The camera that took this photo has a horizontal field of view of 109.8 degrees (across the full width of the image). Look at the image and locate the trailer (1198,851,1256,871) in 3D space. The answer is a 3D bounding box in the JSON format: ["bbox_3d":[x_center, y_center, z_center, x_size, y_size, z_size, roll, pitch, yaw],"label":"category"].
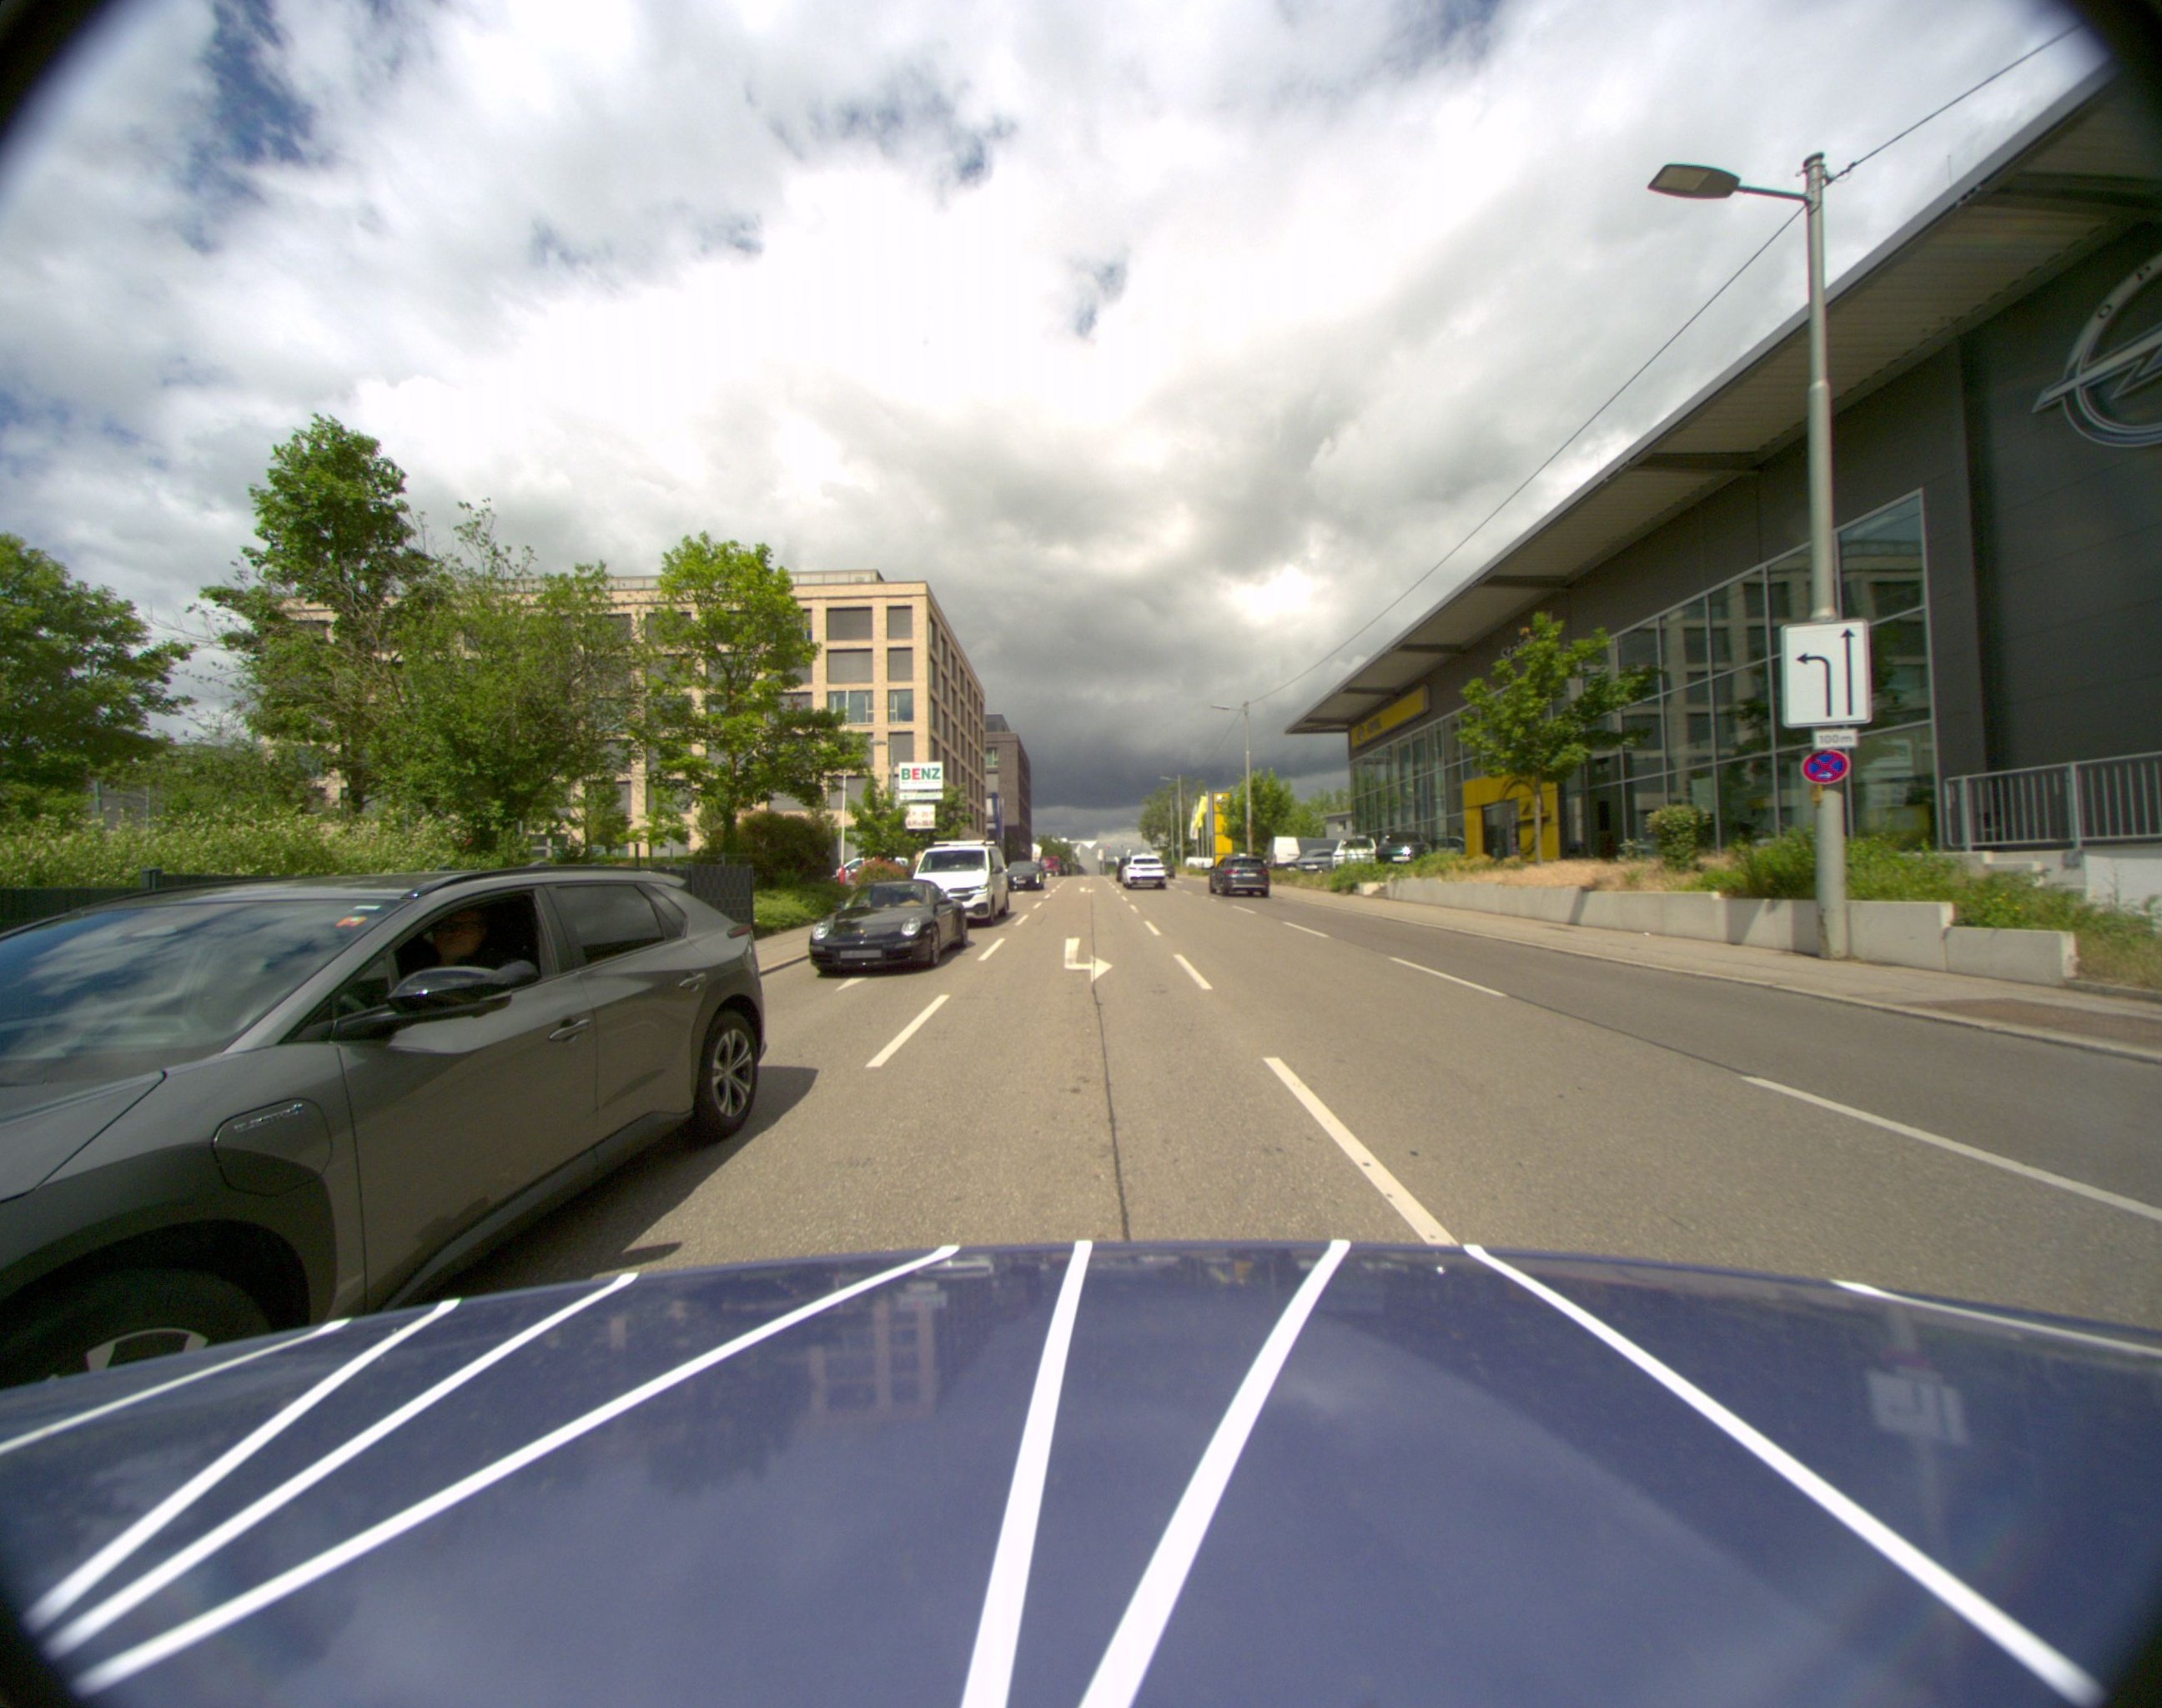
[{"bbox_3d":[13.154,0.629,68.694,4.835,1.742,2.095,-1,0,-3],"label":"trailer"}]

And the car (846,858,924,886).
[{"bbox_3d":[-11.643,1.045,45.406,4.220,1.567,1.735,-1,0,-4],"label":"car"}]

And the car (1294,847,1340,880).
[{"bbox_3d":[12.181,0.447,39.072,1.794,1.604,4.116,-1,0,24],"label":"car"}]

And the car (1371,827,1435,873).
[{"bbox_3d":[12.239,-0.130,28.725,1.817,1.604,4.117,-1,0,29],"label":"car"}]

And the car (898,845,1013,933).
[{"bbox_3d":[-2.951,0.775,18.988,1.964,1.840,4.645,-3,0,1],"label":"car"}]

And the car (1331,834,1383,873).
[{"bbox_3d":[12.292,-0.045,33.660,1.793,1.604,4.115,-1,1,25],"label":"car"}]

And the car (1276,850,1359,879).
[{"bbox_3d":[13.340,0.583,43.024,4.108,1.604,1.797,-1,0,-8],"label":"car"}]

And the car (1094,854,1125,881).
[{"bbox_3d":[1.780,0.843,48.931,1.797,1.604,4.108,-1,0,-1],"label":"car"}]

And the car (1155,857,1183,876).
[{"bbox_3d":[6.854,0.954,59.503,1.763,1.405,3.734,1,0,1],"label":"car"}]

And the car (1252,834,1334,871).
[{"bbox_3d":[13.276,-0.091,47.823,4.531,2.182,2.179,-1,1,-1],"label":"car"}]

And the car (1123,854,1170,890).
[{"bbox_3d":[3.156,0.838,37.355,1.924,1.604,4.416,-1,0,1],"label":"car"}]

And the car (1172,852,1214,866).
[{"bbox_3d":[12.423,0.576,84.415,4.252,1.473,2.095,-1,0,-2],"label":"car"}]

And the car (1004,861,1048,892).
[{"bbox_3d":[-2.743,1.093,38.689,1.777,1.267,4.567,0,2,2],"label":"car"}]

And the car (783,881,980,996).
[{"bbox_3d":[-2.913,1.185,12.211,1.777,1.267,4.569,-3,0,2],"label":"car"}]

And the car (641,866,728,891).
[{"bbox_3d":[-23.373,1.435,44.930,4.219,1.410,1.735,-1,0,-1],"label":"car"}]

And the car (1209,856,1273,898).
[{"bbox_3d":[6.310,0.857,30.332,1.763,1.513,3.958,-1,0,1],"label":"car"}]

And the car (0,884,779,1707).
[{"bbox_3d":[-2.974,1.033,2.560,1.924,1.604,4.683,-3,0,1],"label":"car"}]
